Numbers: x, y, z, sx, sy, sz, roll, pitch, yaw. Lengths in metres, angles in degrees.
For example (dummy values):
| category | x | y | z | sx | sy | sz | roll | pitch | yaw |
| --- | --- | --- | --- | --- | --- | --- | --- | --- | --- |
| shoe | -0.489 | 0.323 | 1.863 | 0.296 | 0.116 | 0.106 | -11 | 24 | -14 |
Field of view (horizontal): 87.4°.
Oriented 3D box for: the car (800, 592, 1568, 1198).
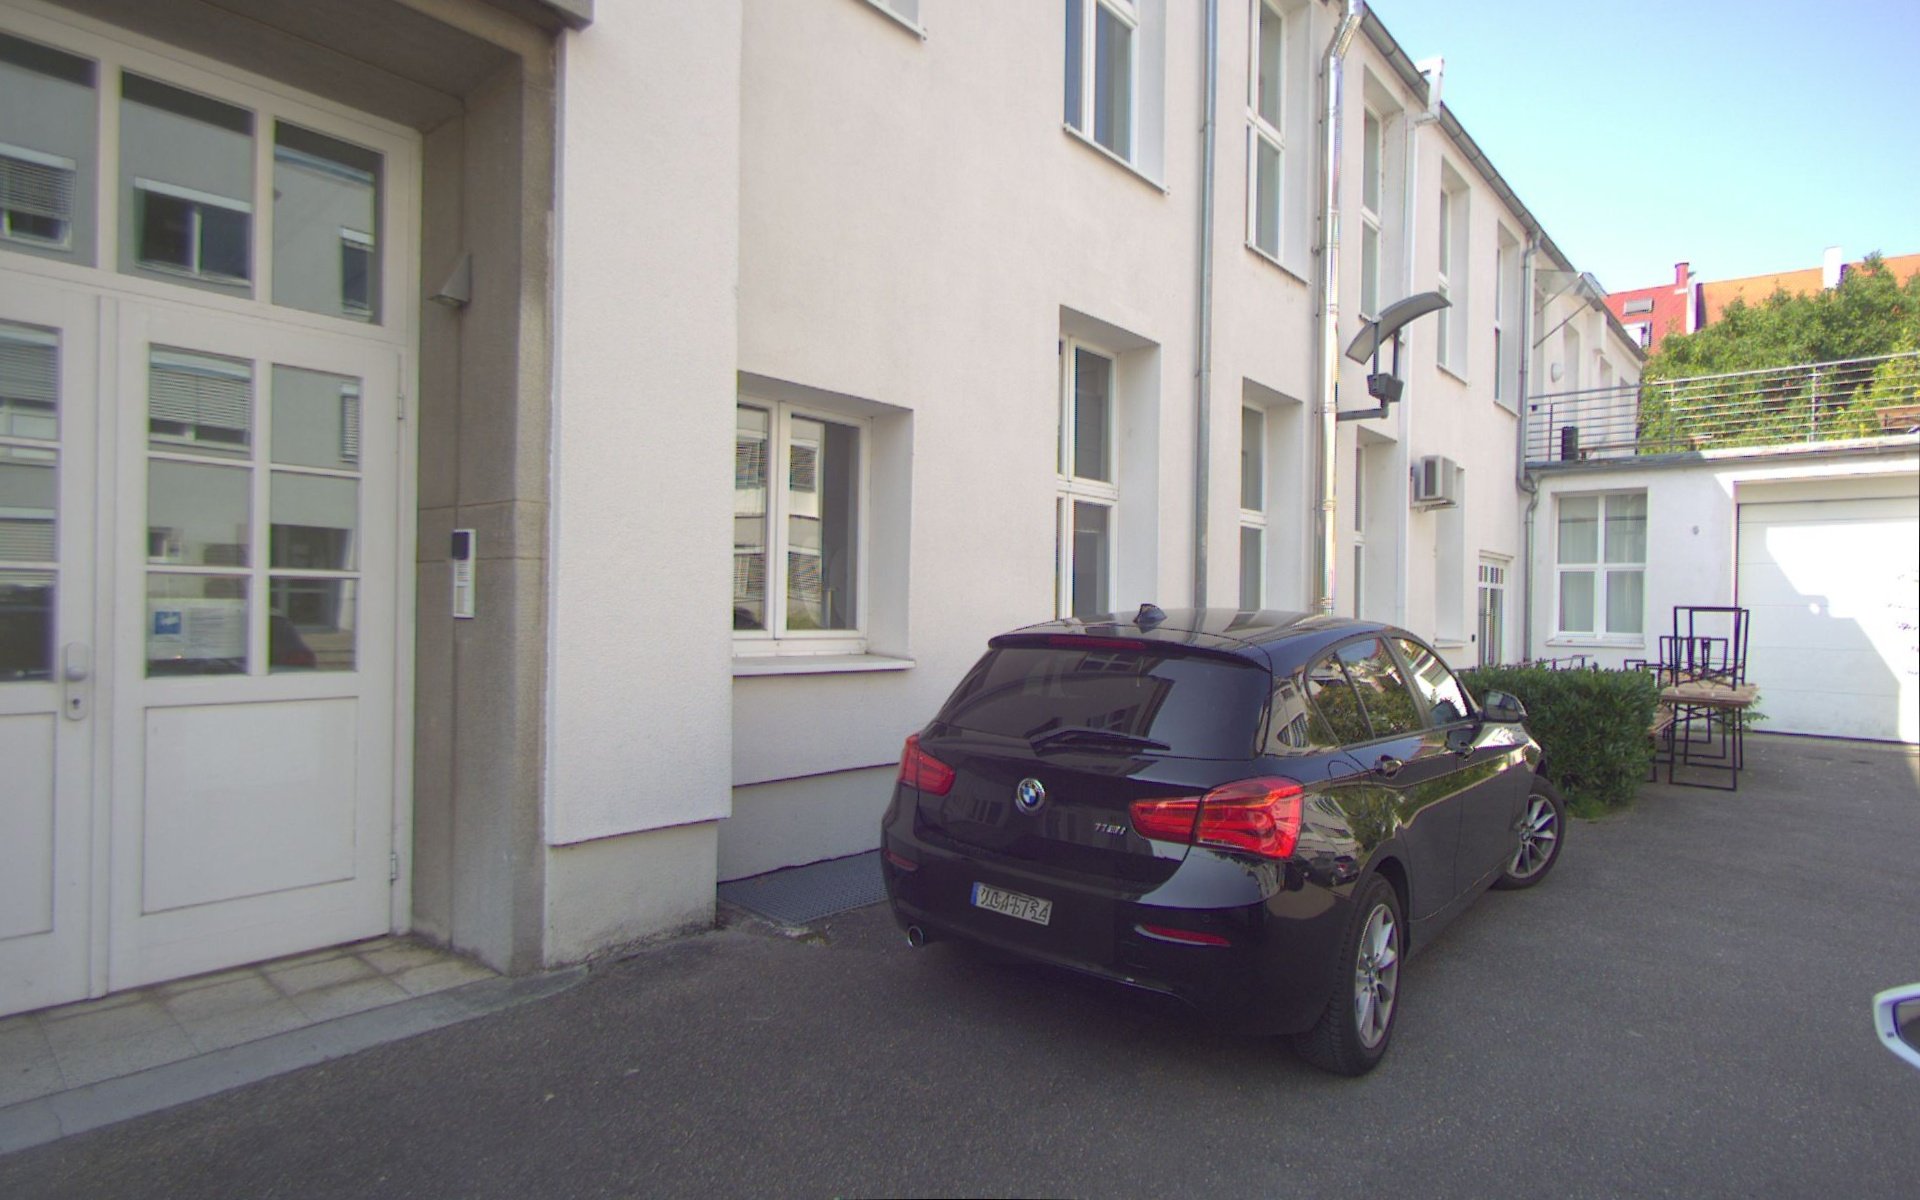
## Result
| category | x | y | z | sx | sy | sz | roll | pitch | yaw |
| --- | --- | --- | --- | --- | --- | --- | --- | --- | --- |
| car | 1.420 | 0.742 | 4.608 | 1.771 | 1.447 | 4.117 | 2 | 0 | 39 |
